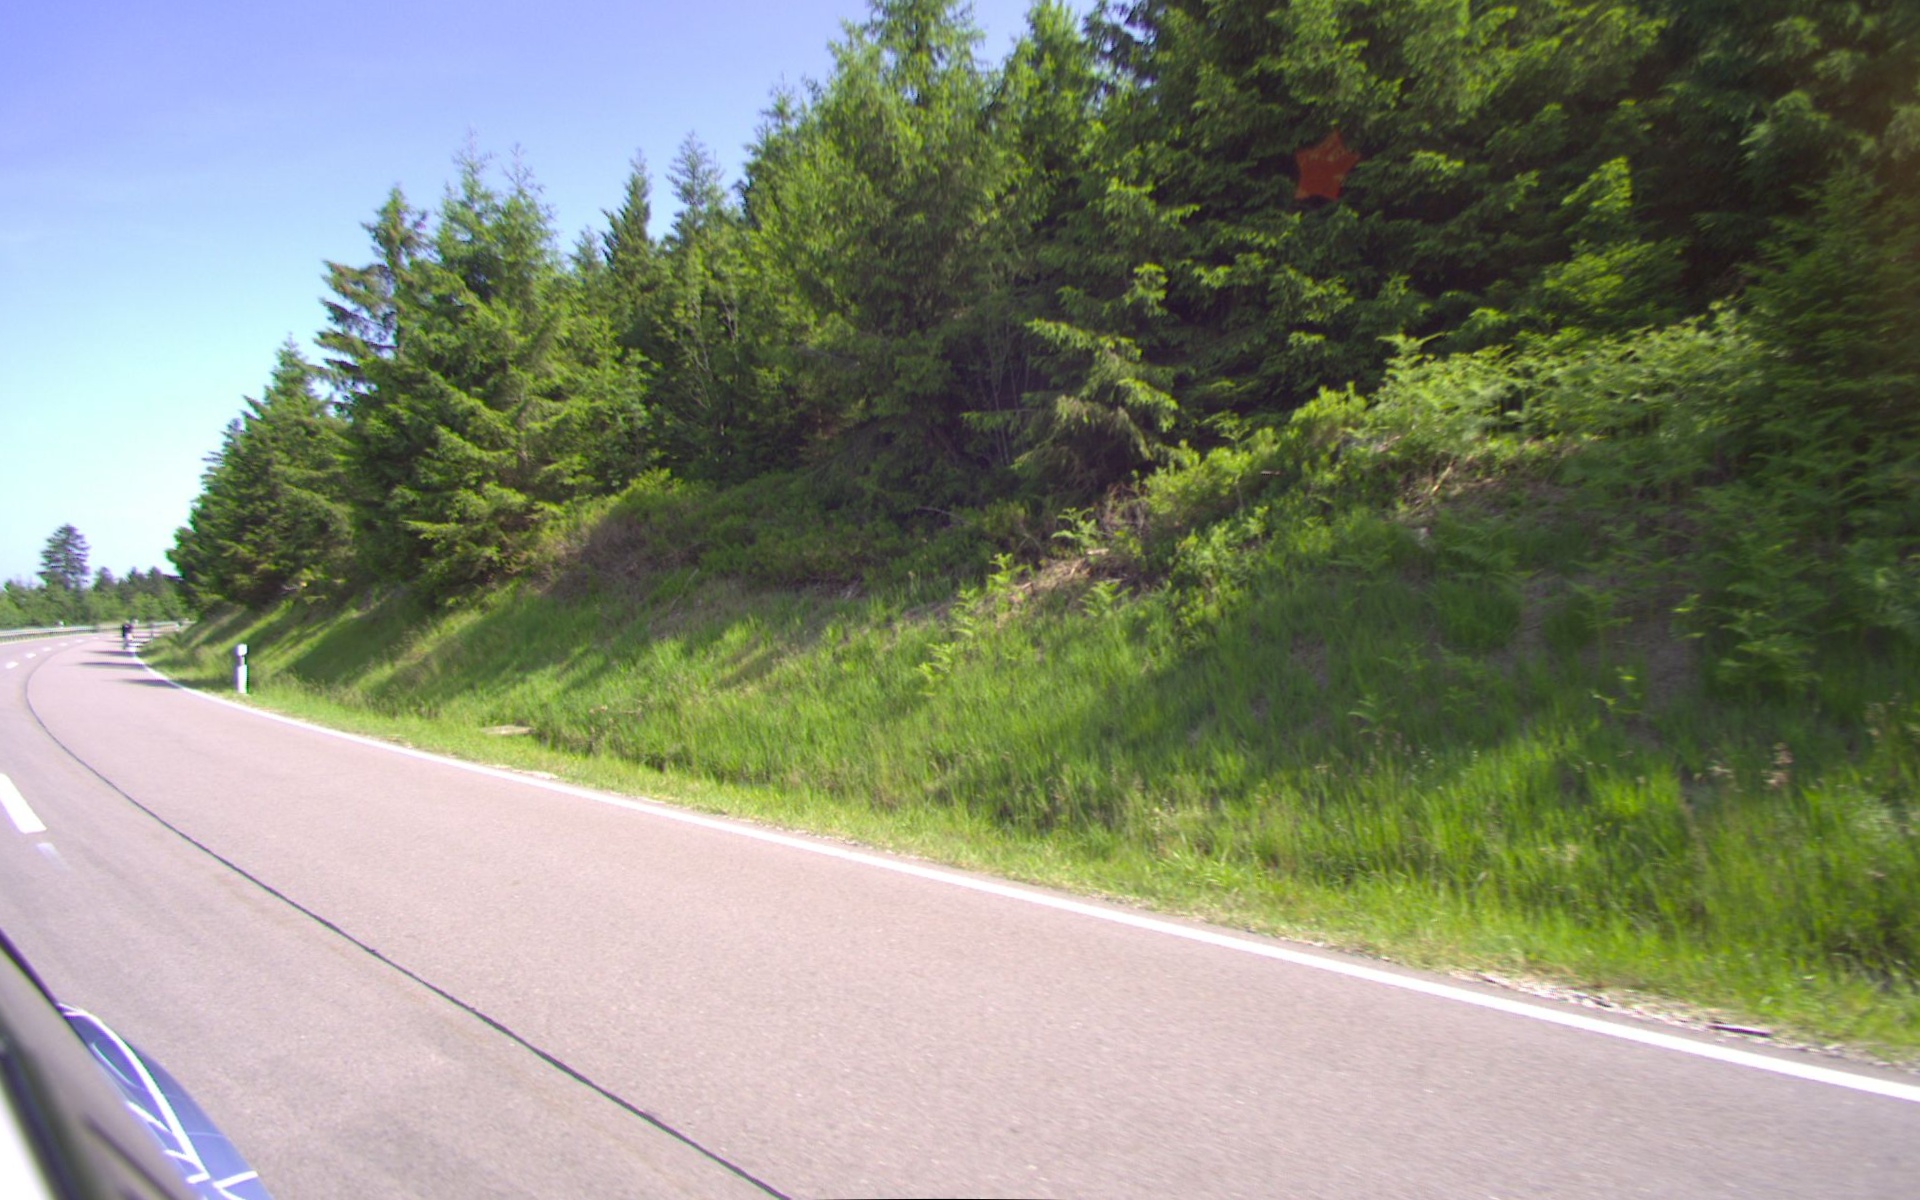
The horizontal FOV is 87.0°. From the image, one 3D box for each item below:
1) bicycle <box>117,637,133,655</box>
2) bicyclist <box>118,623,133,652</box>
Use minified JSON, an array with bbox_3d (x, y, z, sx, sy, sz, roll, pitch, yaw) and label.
[{"bbox_3d":[-42.212,2.325,51.170,0.546,0.893,2.065,2,-2,-41],"label":"bicycle"},{"bbox_3d":[-42.272,1.900,51.281,0.535,1.462,0.985,2,-2,-41],"label":"bicyclist"}]
